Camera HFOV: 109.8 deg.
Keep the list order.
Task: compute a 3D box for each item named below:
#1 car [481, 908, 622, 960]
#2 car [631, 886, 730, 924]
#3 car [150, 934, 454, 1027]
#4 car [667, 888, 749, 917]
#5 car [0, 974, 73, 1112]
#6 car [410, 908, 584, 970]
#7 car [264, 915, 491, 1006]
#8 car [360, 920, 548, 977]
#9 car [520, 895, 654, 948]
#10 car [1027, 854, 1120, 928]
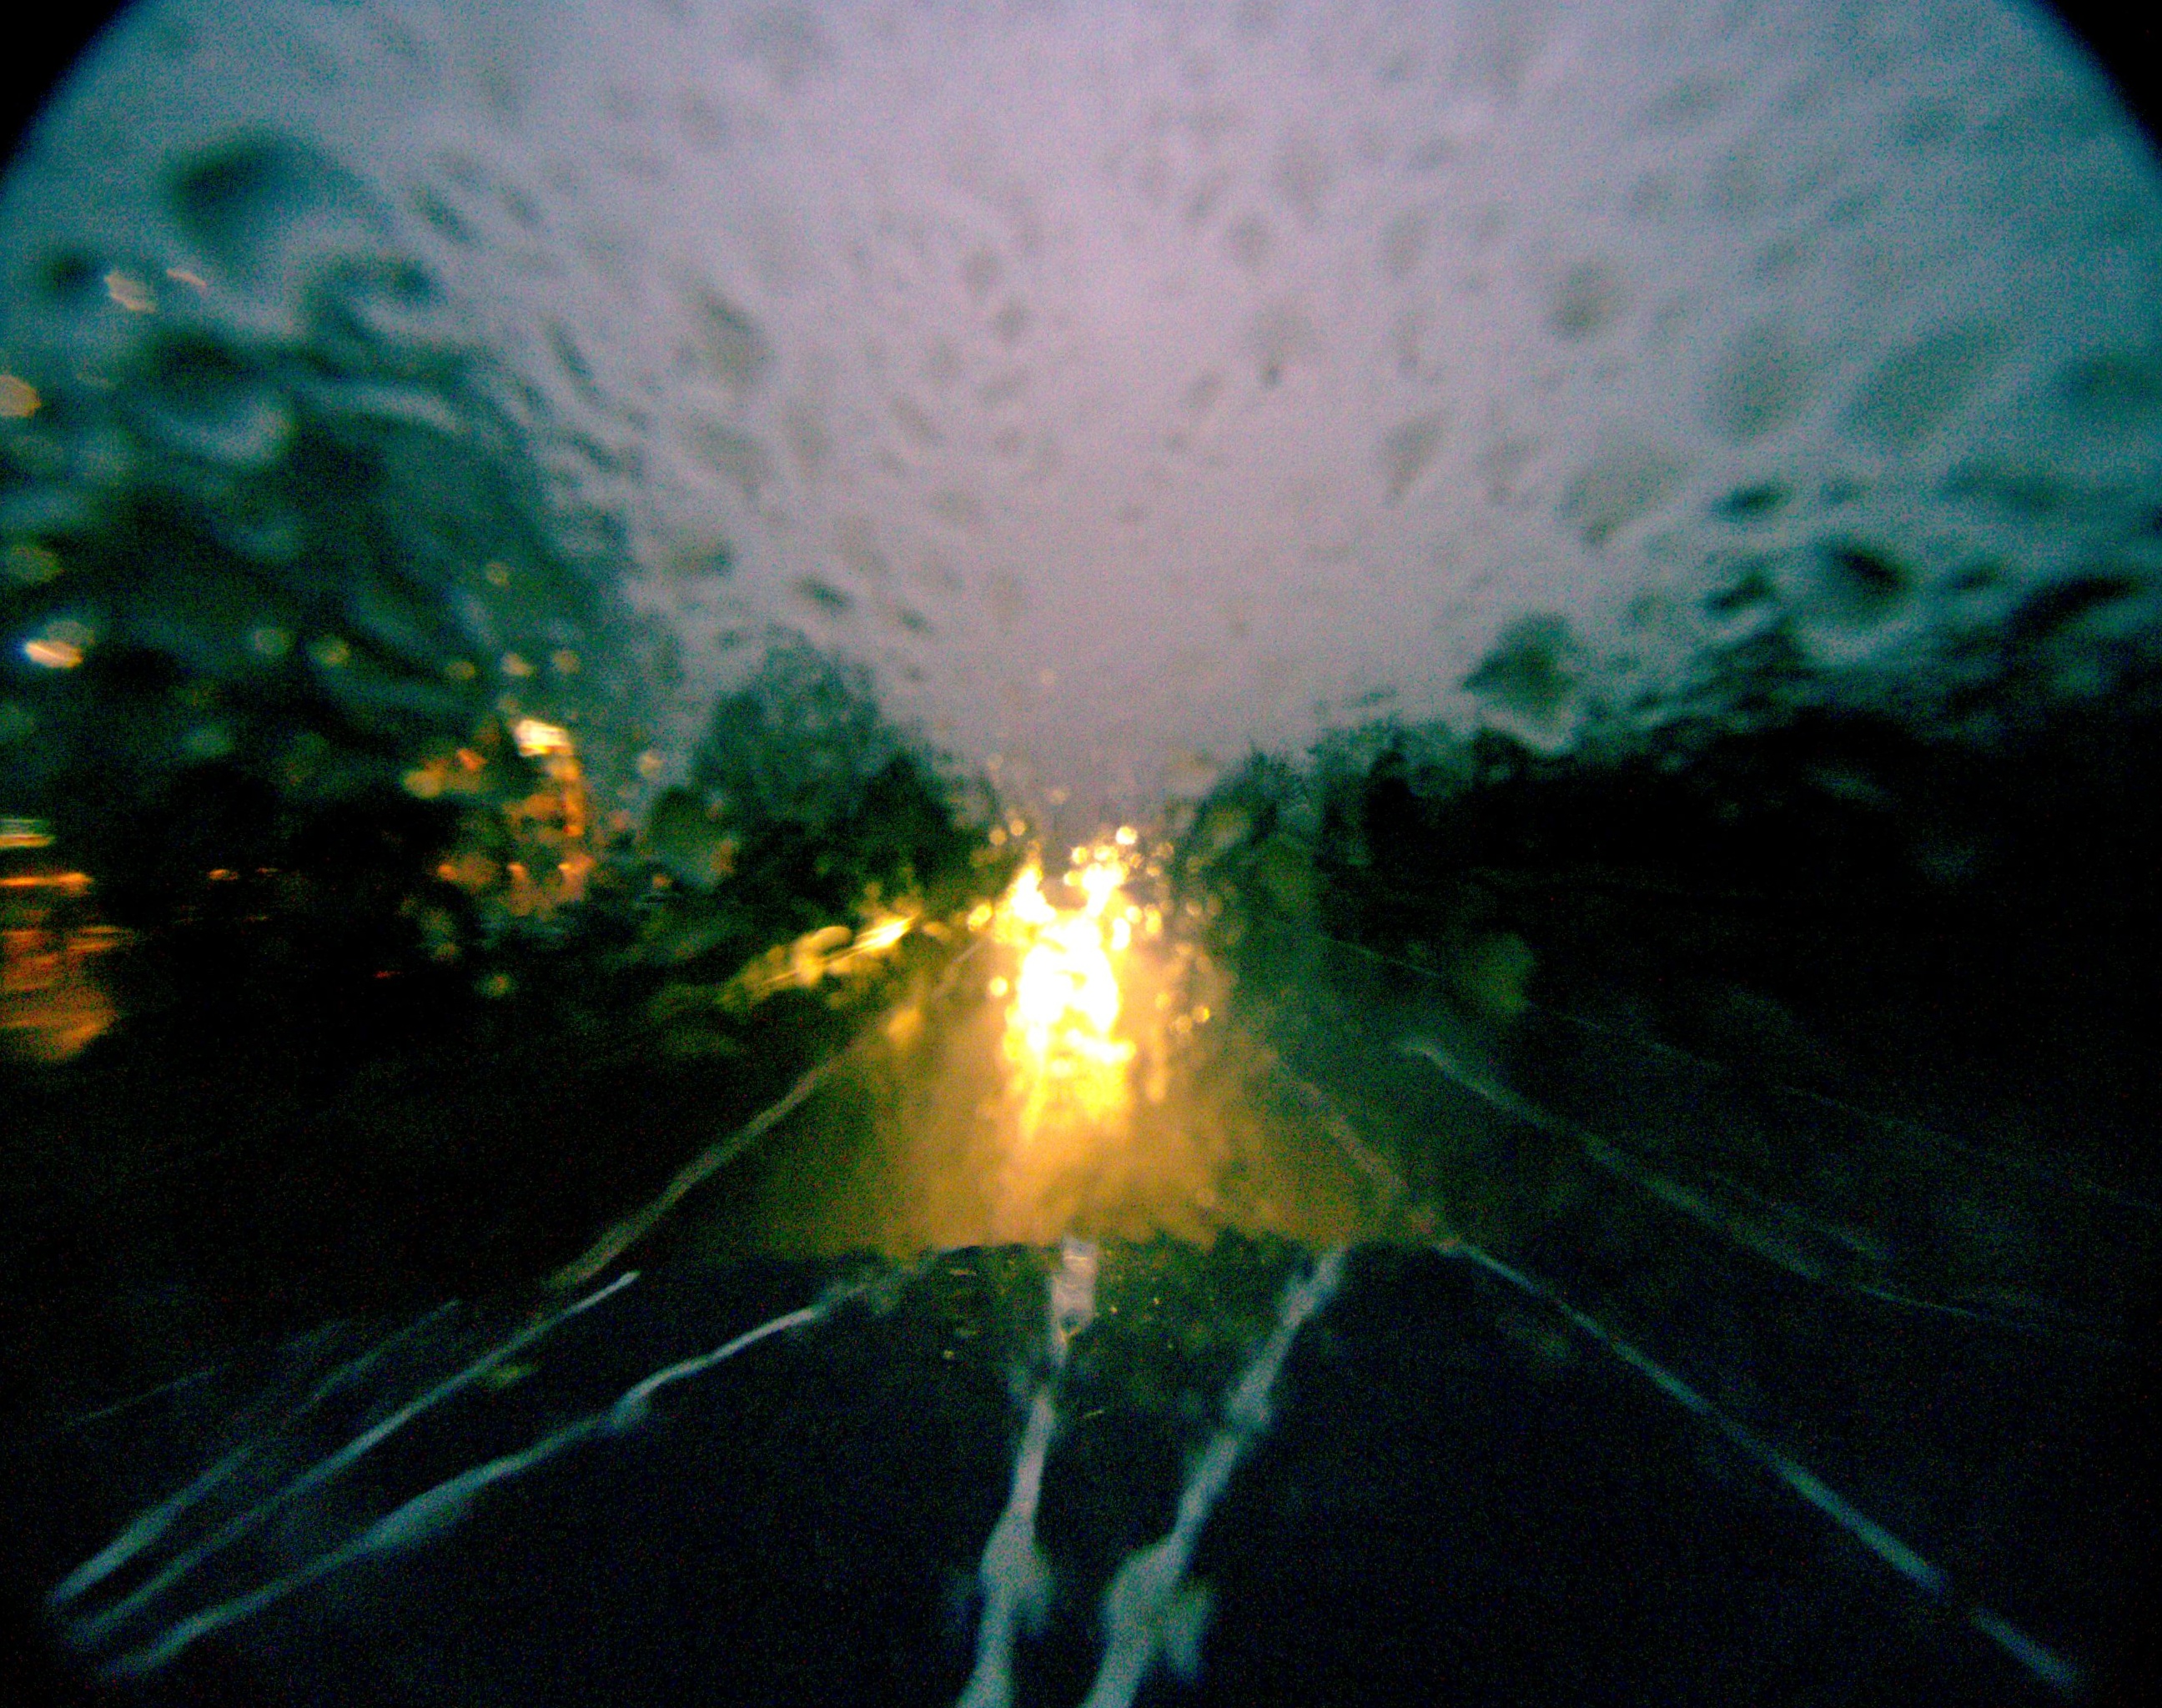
[{"bbox_3d":[-20.149,3.006,29.082,3.877,1.469,1.998,-4,0,-15],"label":"car"},{"bbox_3d":[-22.413,2.836,42.657,4.405,1.705,1.999,-4,0,-9],"label":"car"},{"bbox_3d":[-17.957,2.876,17.788,4.737,1.481,1.660,-3,2,-14],"label":"car"},{"bbox_3d":[-23.718,3.063,48.440,4.192,1.508,1.999,-4,-2,-11],"label":"car"},{"bbox_3d":[-16.689,2.743,9.684,4.143,1.720,2.018,-3,2,-16],"label":"car"},{"bbox_3d":[-20.183,2.900,26.482,4.262,1.620,1.998,-4,0,-15],"label":"car"},{"bbox_3d":[-18.929,2.824,20.654,4.141,1.825,1.660,-4,2,-12],"label":"car"},{"bbox_3d":[-19.134,2.871,23.366,4.141,1.414,1.661,0,1,-10],"label":"car"},{"bbox_3d":[-20.863,2.797,32.278,4.263,1.843,1.998,-3,0,-15],"label":"car"},{"bbox_3d":[-0.068,0.870,20.223,2.102,1.566,4.800,-4,0,3],"label":"car"}]
